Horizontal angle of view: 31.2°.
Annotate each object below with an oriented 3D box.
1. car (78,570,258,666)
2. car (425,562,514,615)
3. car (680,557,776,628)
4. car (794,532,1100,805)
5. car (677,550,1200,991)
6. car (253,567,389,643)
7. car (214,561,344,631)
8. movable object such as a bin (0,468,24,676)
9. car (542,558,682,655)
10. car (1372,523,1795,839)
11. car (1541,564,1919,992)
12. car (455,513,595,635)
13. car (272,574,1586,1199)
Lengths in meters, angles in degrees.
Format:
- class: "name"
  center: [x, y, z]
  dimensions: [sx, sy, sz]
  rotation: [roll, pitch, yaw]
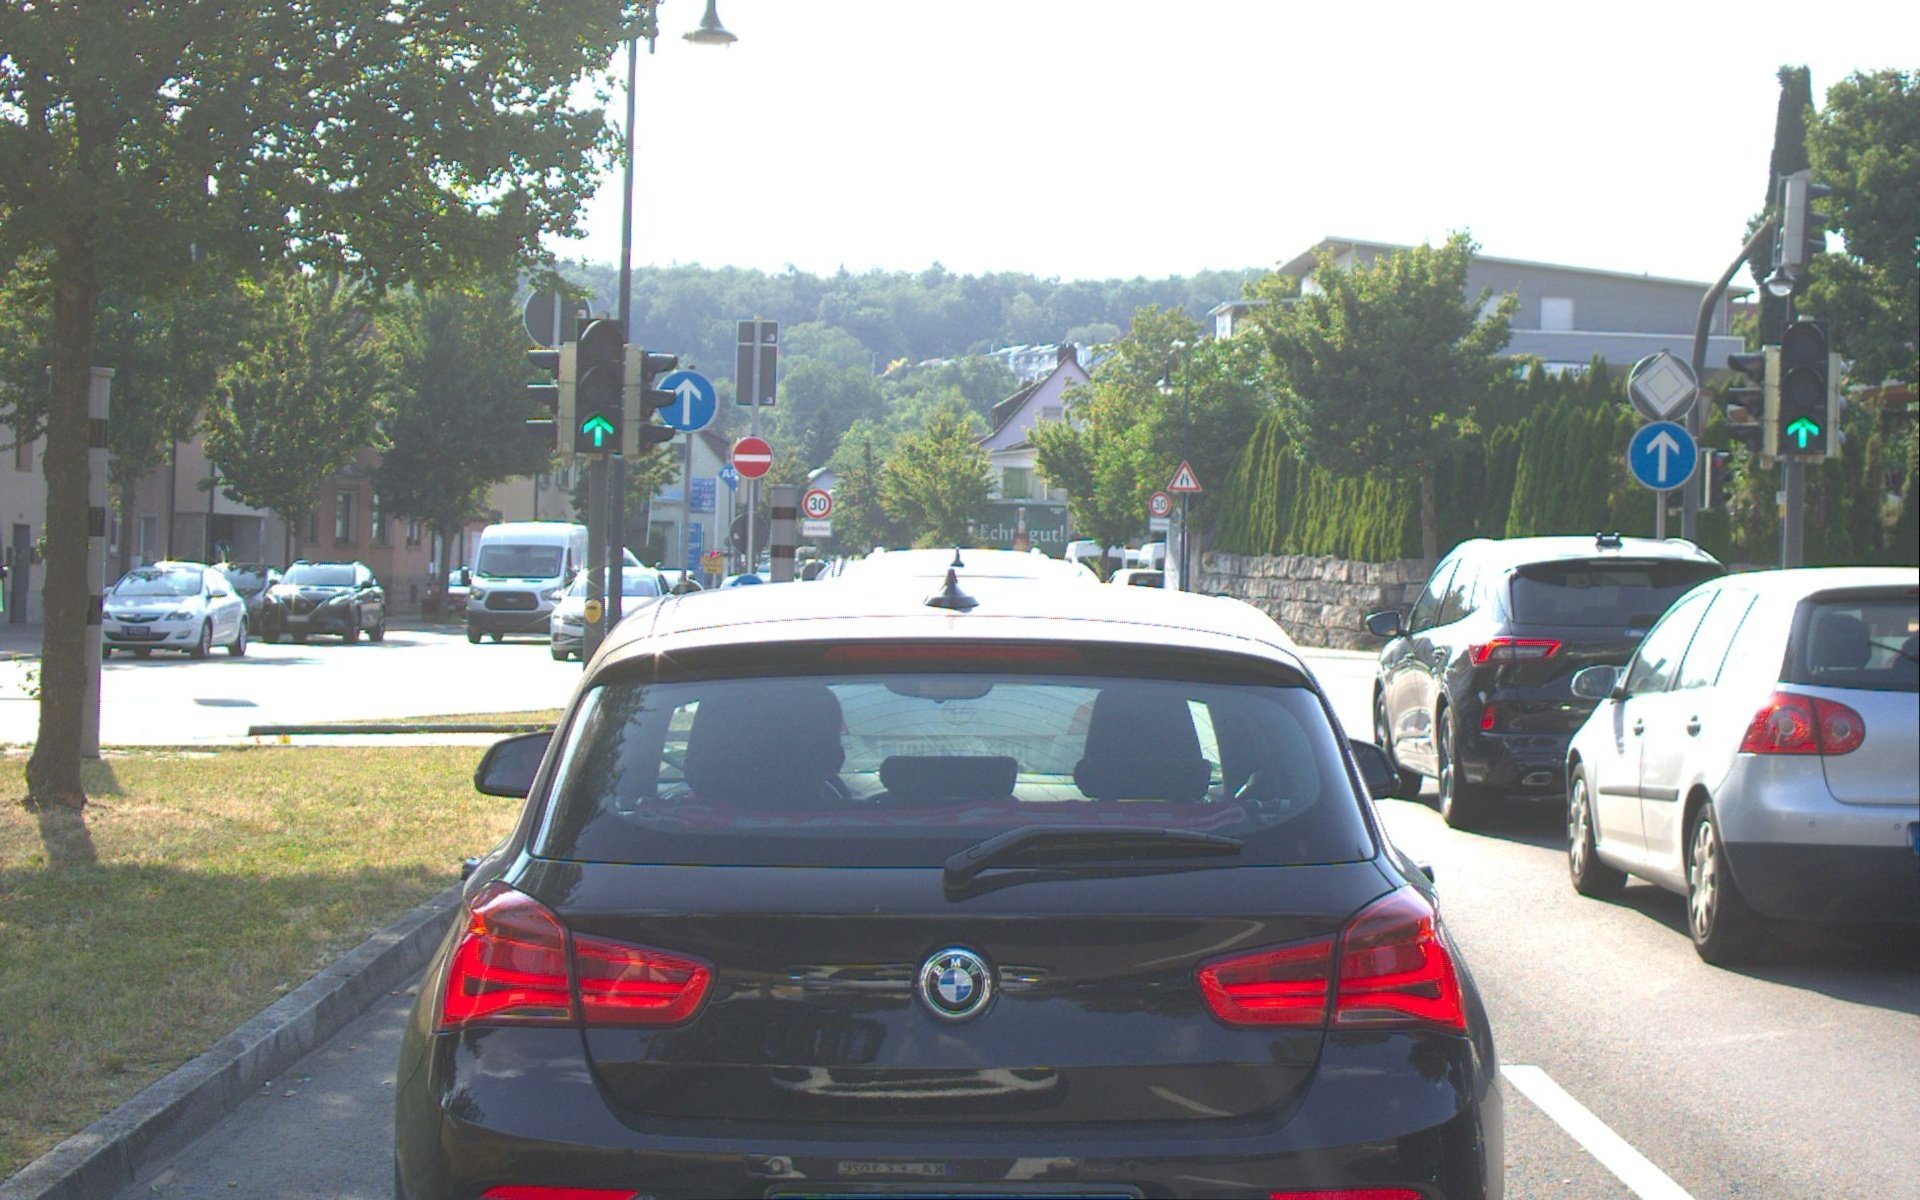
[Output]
- class: "car"
  center: [-12.509, 0.257, 54.503]
  dimensions: [1.737, 1.296, 3.799]
  rotation: [5, 1, 2]
- class: "car"
  center: [-13.844, -0.340, 97.157]
  dimensions: [1.737, 1.296, 3.799]
  rotation: [5, 1, 2]
- class: "car"
  center: [-5.078, -0.187, 75.635]
  dimensions: [1.839, 1.477, 4.000]
  rotation: [1, 1, 0]
- class: "car"
  center: [-0.074, 0.369, 22.457]
  dimensions: [1.788, 1.588, 4.281]
  rotation: [-1, 1, 0]
- class: "car"
  center: [-0.070, 0.557, 13.994]
  dimensions: [1.788, 1.488, 4.281]
  rotation: [-1, 1, 0]
- class: "car"
  center: [-12.612, 0.069, 68.070]
  dimensions: [1.737, 1.296, 3.799]
  rotation: [5, 1, 2]
- class: "car"
  center: [-14.505, -0.114, 73.420]
  dimensions: [1.737, 1.296, 4.000]
  rotation: [5, 1, 2]
- class: "movable object such as a bin"
  center: [-12.113, -0.310, 39.030]
  dimensions: [1.736, 2.433, 4.450]
  rotation: [0, 1, 0]
- class: "car"
  center: [-5.585, 0.078, 55.504]
  dimensions: [1.839, 1.477, 4.000]
  rotation: [1, 1, 0]
- class: "car"
  center: [3.533, 0.394, 20.142]
  dimensions: [1.761, 1.650, 3.903]
  rotation: [-1, 1, 0]
- class: "car"
  center: [3.536, 0.592, 13.731]
  dimensions: [1.761, 1.421, 3.903]
  rotation: [-1, 1, 0]
- class: "car"
  center: [-8.925, -0.541, 70.942]
  dimensions: [2.084, 2.385, 5.528]
  rotation: [1, 1, 1]
- class: "car"
  center: [-0.035, 0.677, 6.848]
  dimensions: [1.788, 1.393, 4.281]
  rotation: [-1, 1, 0]
